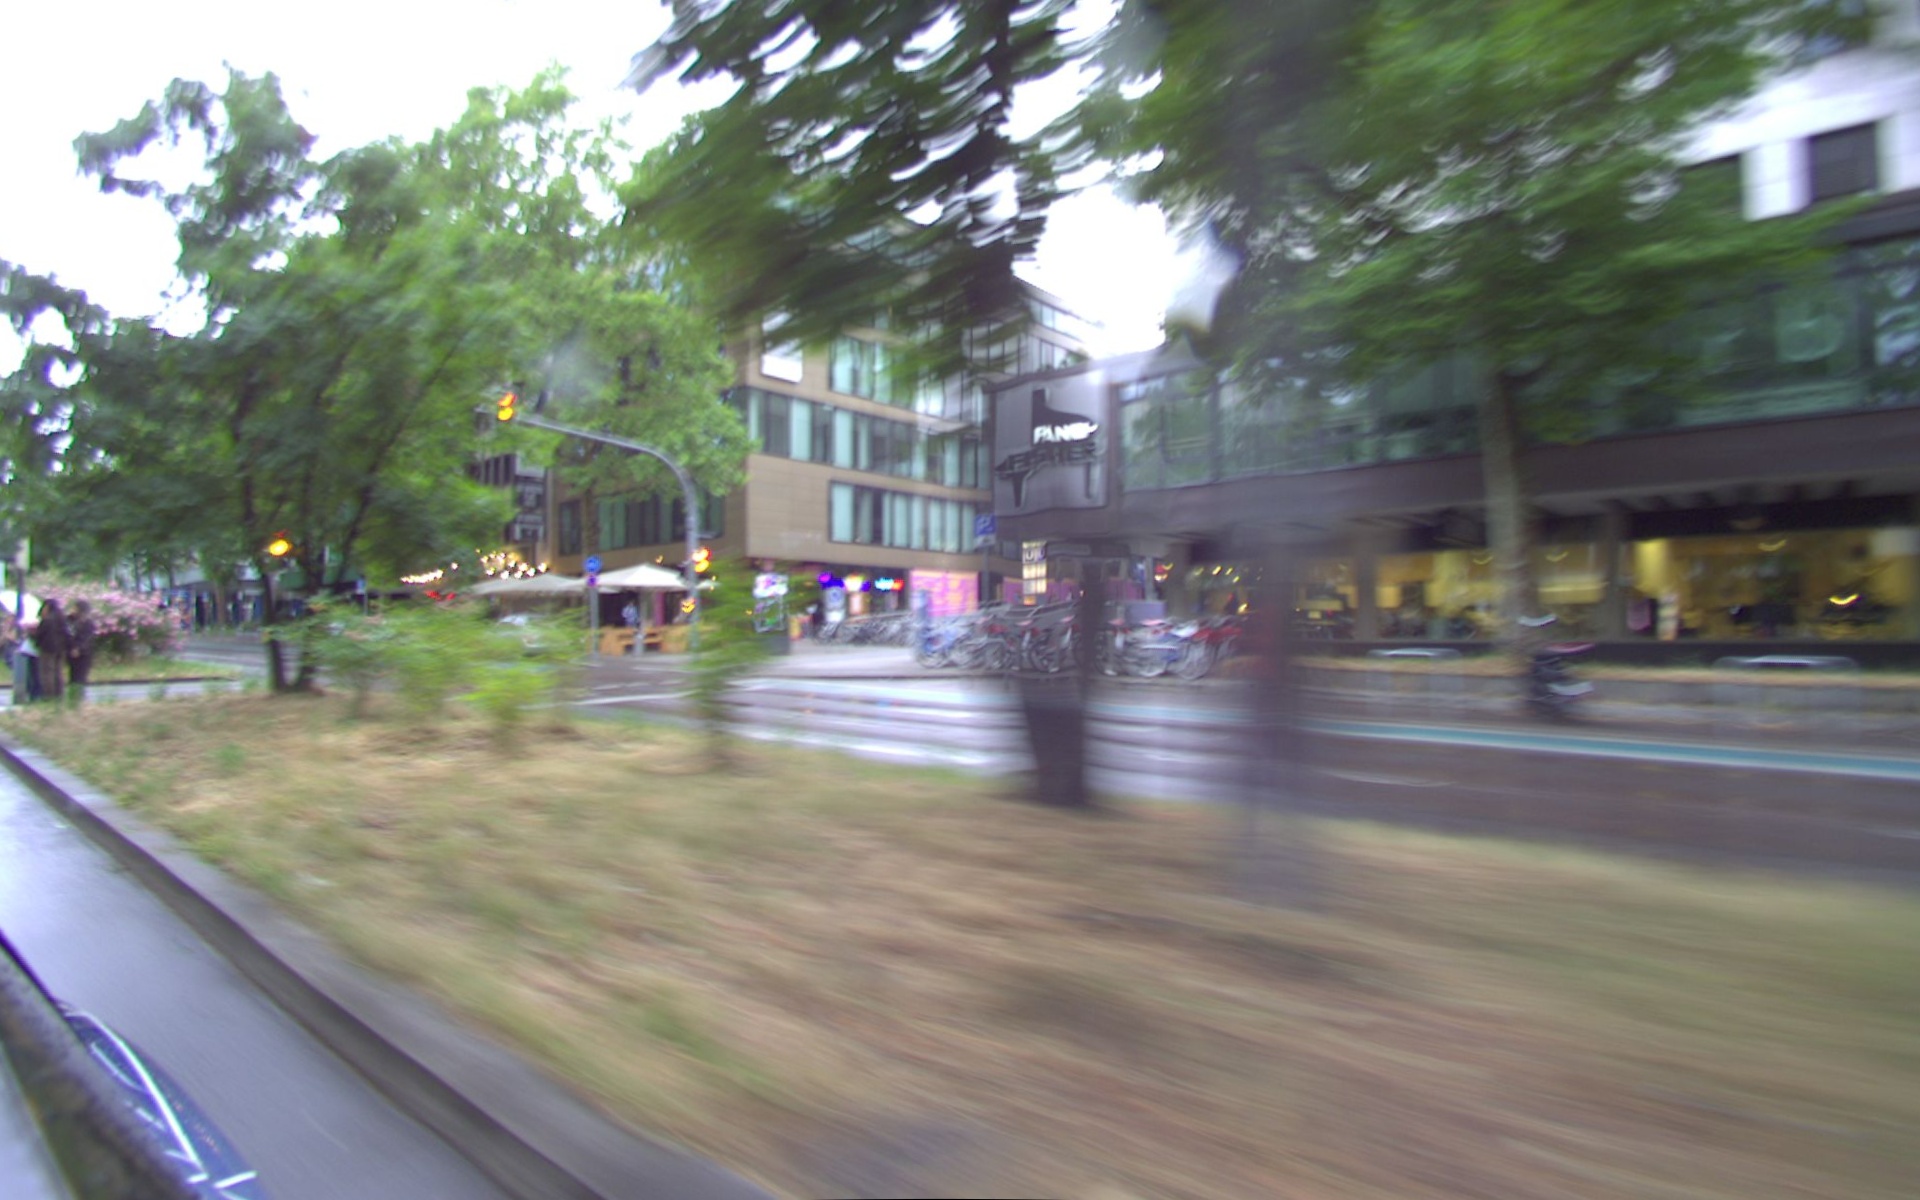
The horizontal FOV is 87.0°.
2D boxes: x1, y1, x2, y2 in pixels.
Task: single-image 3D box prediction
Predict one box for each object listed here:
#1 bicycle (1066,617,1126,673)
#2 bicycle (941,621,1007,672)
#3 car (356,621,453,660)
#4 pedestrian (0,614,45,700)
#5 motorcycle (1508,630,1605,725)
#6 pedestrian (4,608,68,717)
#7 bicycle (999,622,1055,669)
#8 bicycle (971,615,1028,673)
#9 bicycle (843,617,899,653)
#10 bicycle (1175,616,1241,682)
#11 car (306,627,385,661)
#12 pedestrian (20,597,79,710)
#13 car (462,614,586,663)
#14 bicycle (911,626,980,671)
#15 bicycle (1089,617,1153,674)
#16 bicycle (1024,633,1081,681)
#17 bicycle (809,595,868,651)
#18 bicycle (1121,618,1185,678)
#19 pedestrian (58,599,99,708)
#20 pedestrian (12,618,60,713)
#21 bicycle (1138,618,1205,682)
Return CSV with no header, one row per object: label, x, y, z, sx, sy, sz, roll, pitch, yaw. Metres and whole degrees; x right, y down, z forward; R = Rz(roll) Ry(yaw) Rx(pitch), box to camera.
bicycle,2.835,0.915,20.996,0.564,1.099,1.656,-2,-2,34
bicycle,0.345,1.048,23.078,0.613,1.106,1.829,-2,-2,33
car,-22.184,1.589,40.344,4.538,1.380,1.973,-2,0,42
pedestrian,-16.810,1.004,18.149,0.475,1.500,0.546,0,-1,-30
motorcycle,7.618,0.954,13.003,0.491,1.093,1.773,-1,0,11
pedestrian,-14.494,0.963,15.886,0.443,1.655,0.624,-1,-1,27
bicycle,1.478,0.978,22.153,0.564,0.986,1.451,-2,-2,33
bicycle,0.890,0.959,22.575,0.508,1.250,1.604,-2,-2,34
bicycle,-3.217,1.268,36.845,0.688,1.256,2.366,0,-1,33
bicycle,4.614,0.896,18.750,0.564,1.158,1.828,-2,-2,35
car,-27.269,1.925,44.867,4.482,1.405,1.806,-2,-1,42
pedestrian,-14.068,0.814,15.643,0.402,1.711,0.569,-1,-1,29
car,-14.606,1.271,33.810,4.514,1.521,1.973,-2,-2,40
bicycle,-0.320,1.119,23.657,0.565,0.986,1.826,-2,-2,38
bicycle,3.292,0.898,20.594,0.564,1.106,1.806,-2,-2,34
bicycle,1.993,1.194,21.660,0.508,0.970,1.604,-2,-2,34
bicycle,-4.548,0.840,38.106,0.689,2.029,2.362,-2,0,39
bicycle,3.852,0.931,20.103,0.564,1.145,1.829,-2,-2,34
pedestrian,-14.275,0.861,16.386,0.324,1.733,0.396,-1,-2,27
pedestrian,-14.375,1.005,15.745,0.383,1.461,0.421,-1,-1,23
bicycle,3.984,0.913,18.981,0.564,1.145,1.828,-2,-2,35
